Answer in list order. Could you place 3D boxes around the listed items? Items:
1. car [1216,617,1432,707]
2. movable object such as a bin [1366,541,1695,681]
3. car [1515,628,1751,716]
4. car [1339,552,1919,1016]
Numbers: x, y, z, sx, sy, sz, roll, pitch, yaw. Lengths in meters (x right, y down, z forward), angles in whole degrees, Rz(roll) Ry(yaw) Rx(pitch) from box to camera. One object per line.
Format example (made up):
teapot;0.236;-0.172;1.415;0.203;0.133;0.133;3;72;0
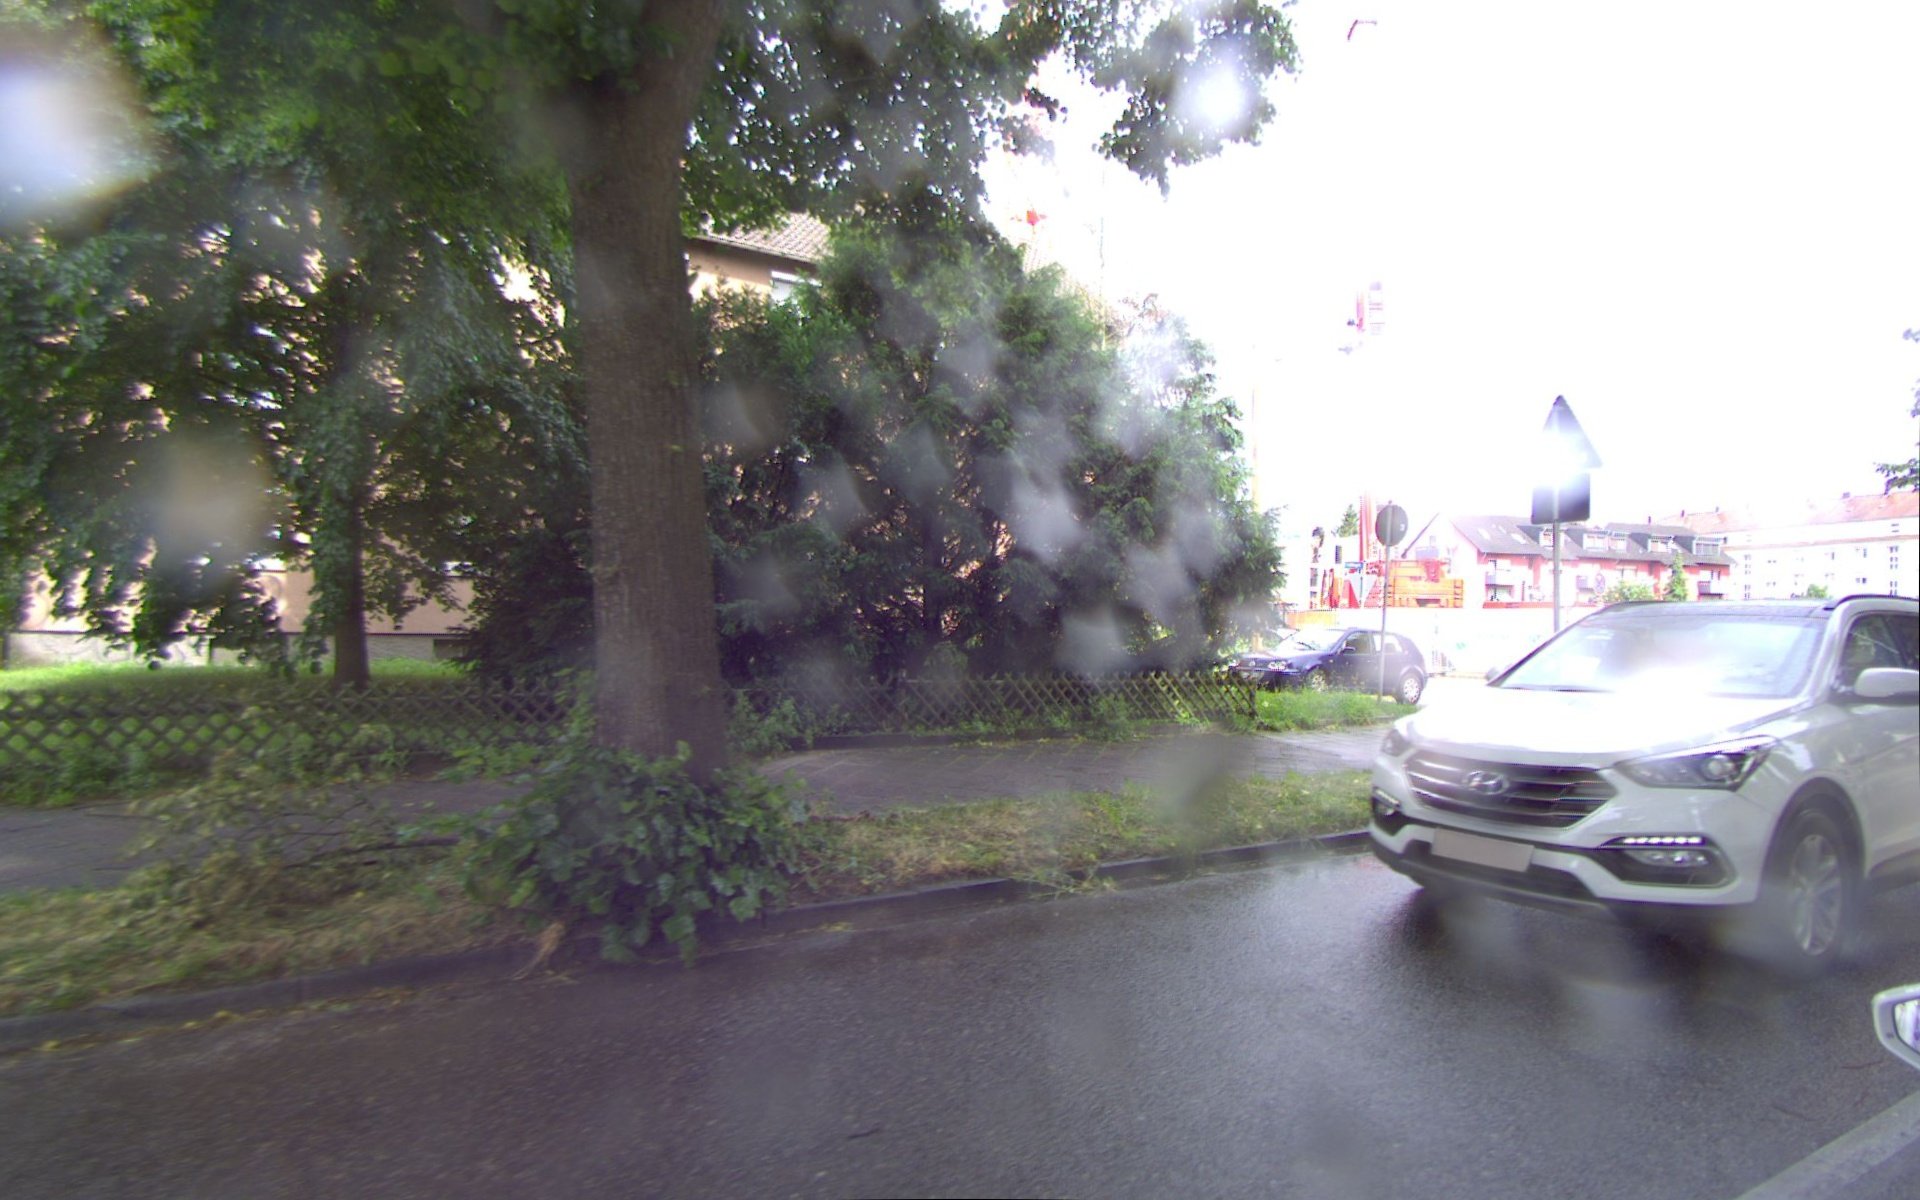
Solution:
car;6.780;1.158;18.650;3.824;1.439;1.617;4;0;-29
movable object such as a bin;19.375;0.321;35.161;3.323;4.170;9.775;1;0;-27
car;13.299;1.357;20.081;1.713;1.554;3.598;1;-1;-22
car;4.315;0.751;5.624;4.178;1.736;1.878;2;-1;-29
